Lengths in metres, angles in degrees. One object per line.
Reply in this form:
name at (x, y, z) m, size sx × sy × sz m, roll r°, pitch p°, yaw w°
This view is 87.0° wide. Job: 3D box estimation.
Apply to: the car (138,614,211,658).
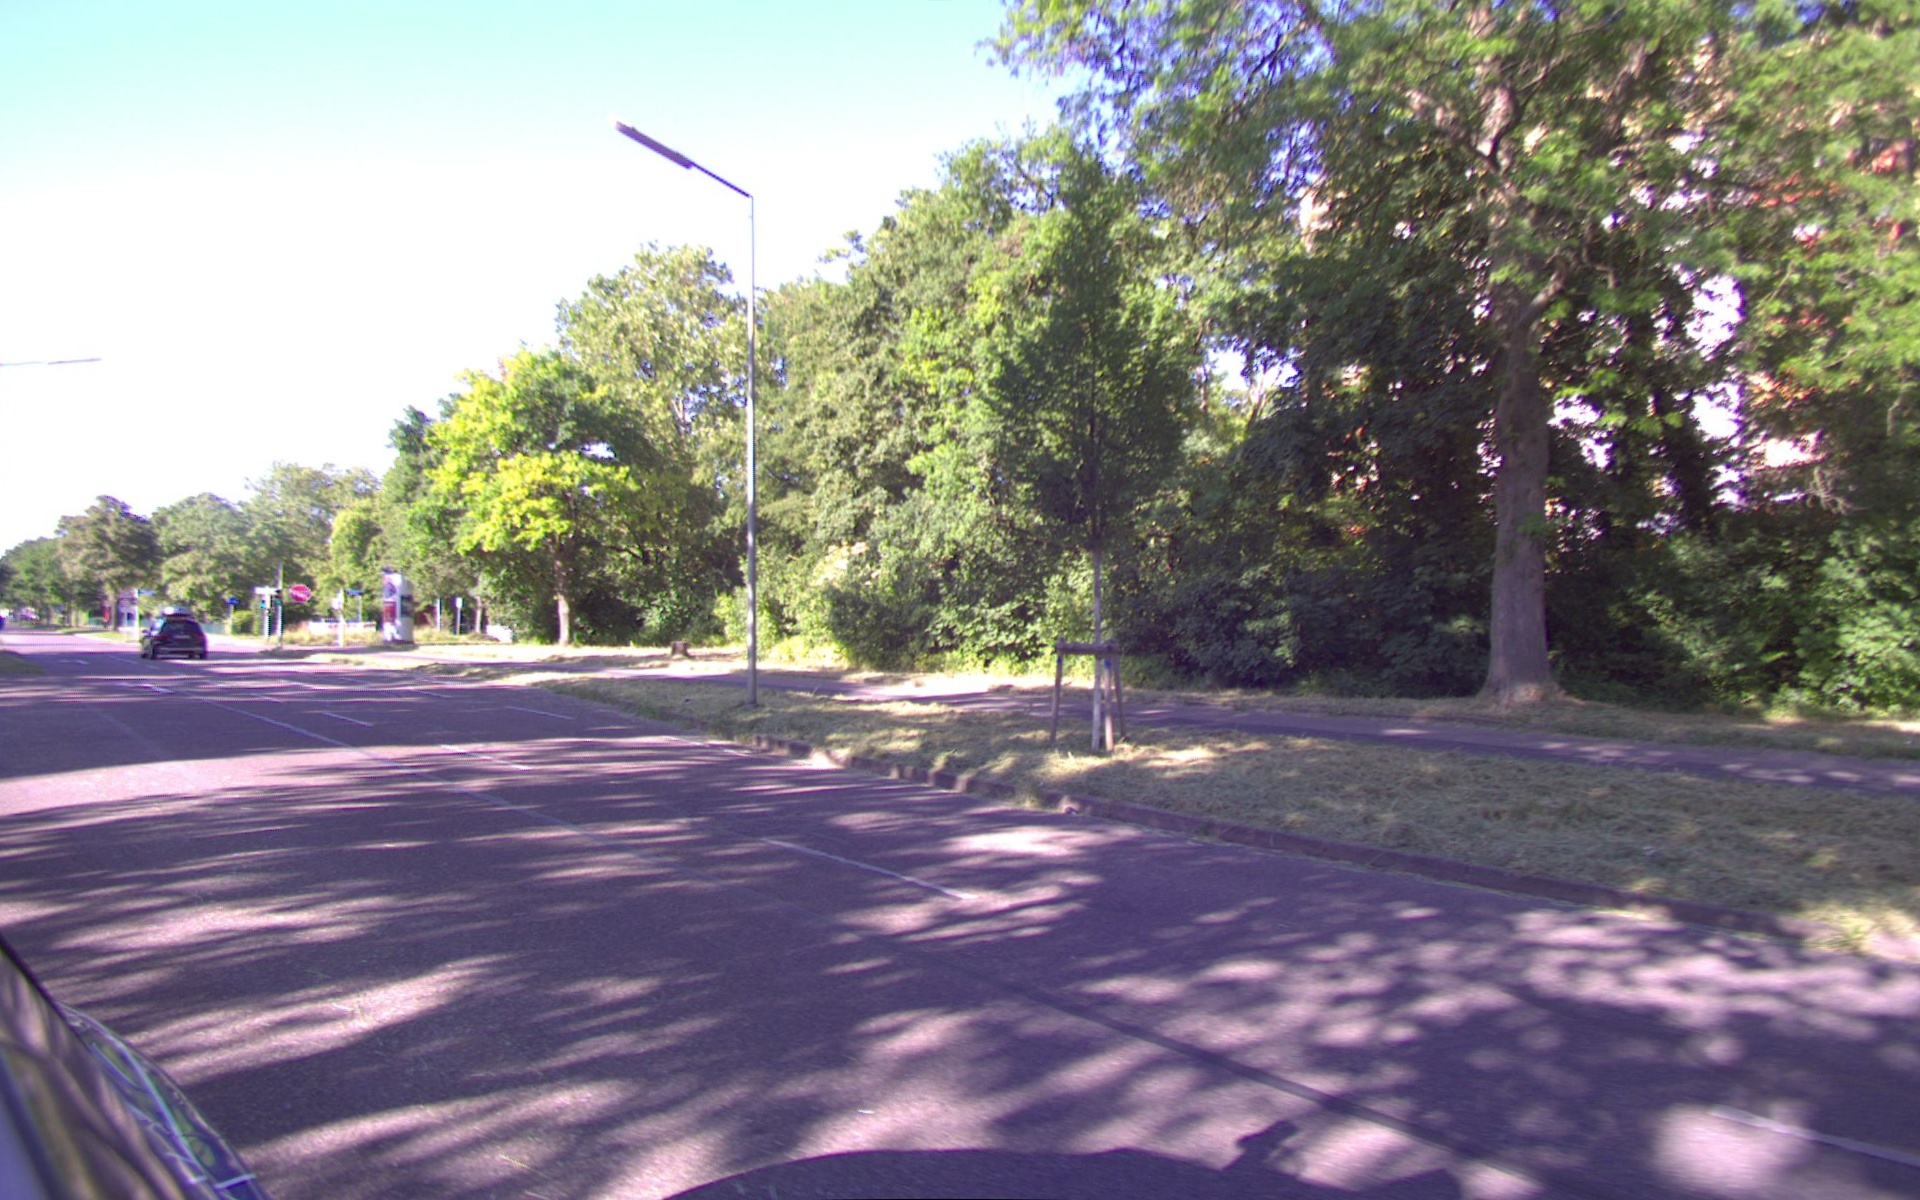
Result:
car at (-32.198, 1.460, 41.427) m, size 1.818 × 1.721 × 4.508 m, roll 3°, pitch -3°, yaw -44°
